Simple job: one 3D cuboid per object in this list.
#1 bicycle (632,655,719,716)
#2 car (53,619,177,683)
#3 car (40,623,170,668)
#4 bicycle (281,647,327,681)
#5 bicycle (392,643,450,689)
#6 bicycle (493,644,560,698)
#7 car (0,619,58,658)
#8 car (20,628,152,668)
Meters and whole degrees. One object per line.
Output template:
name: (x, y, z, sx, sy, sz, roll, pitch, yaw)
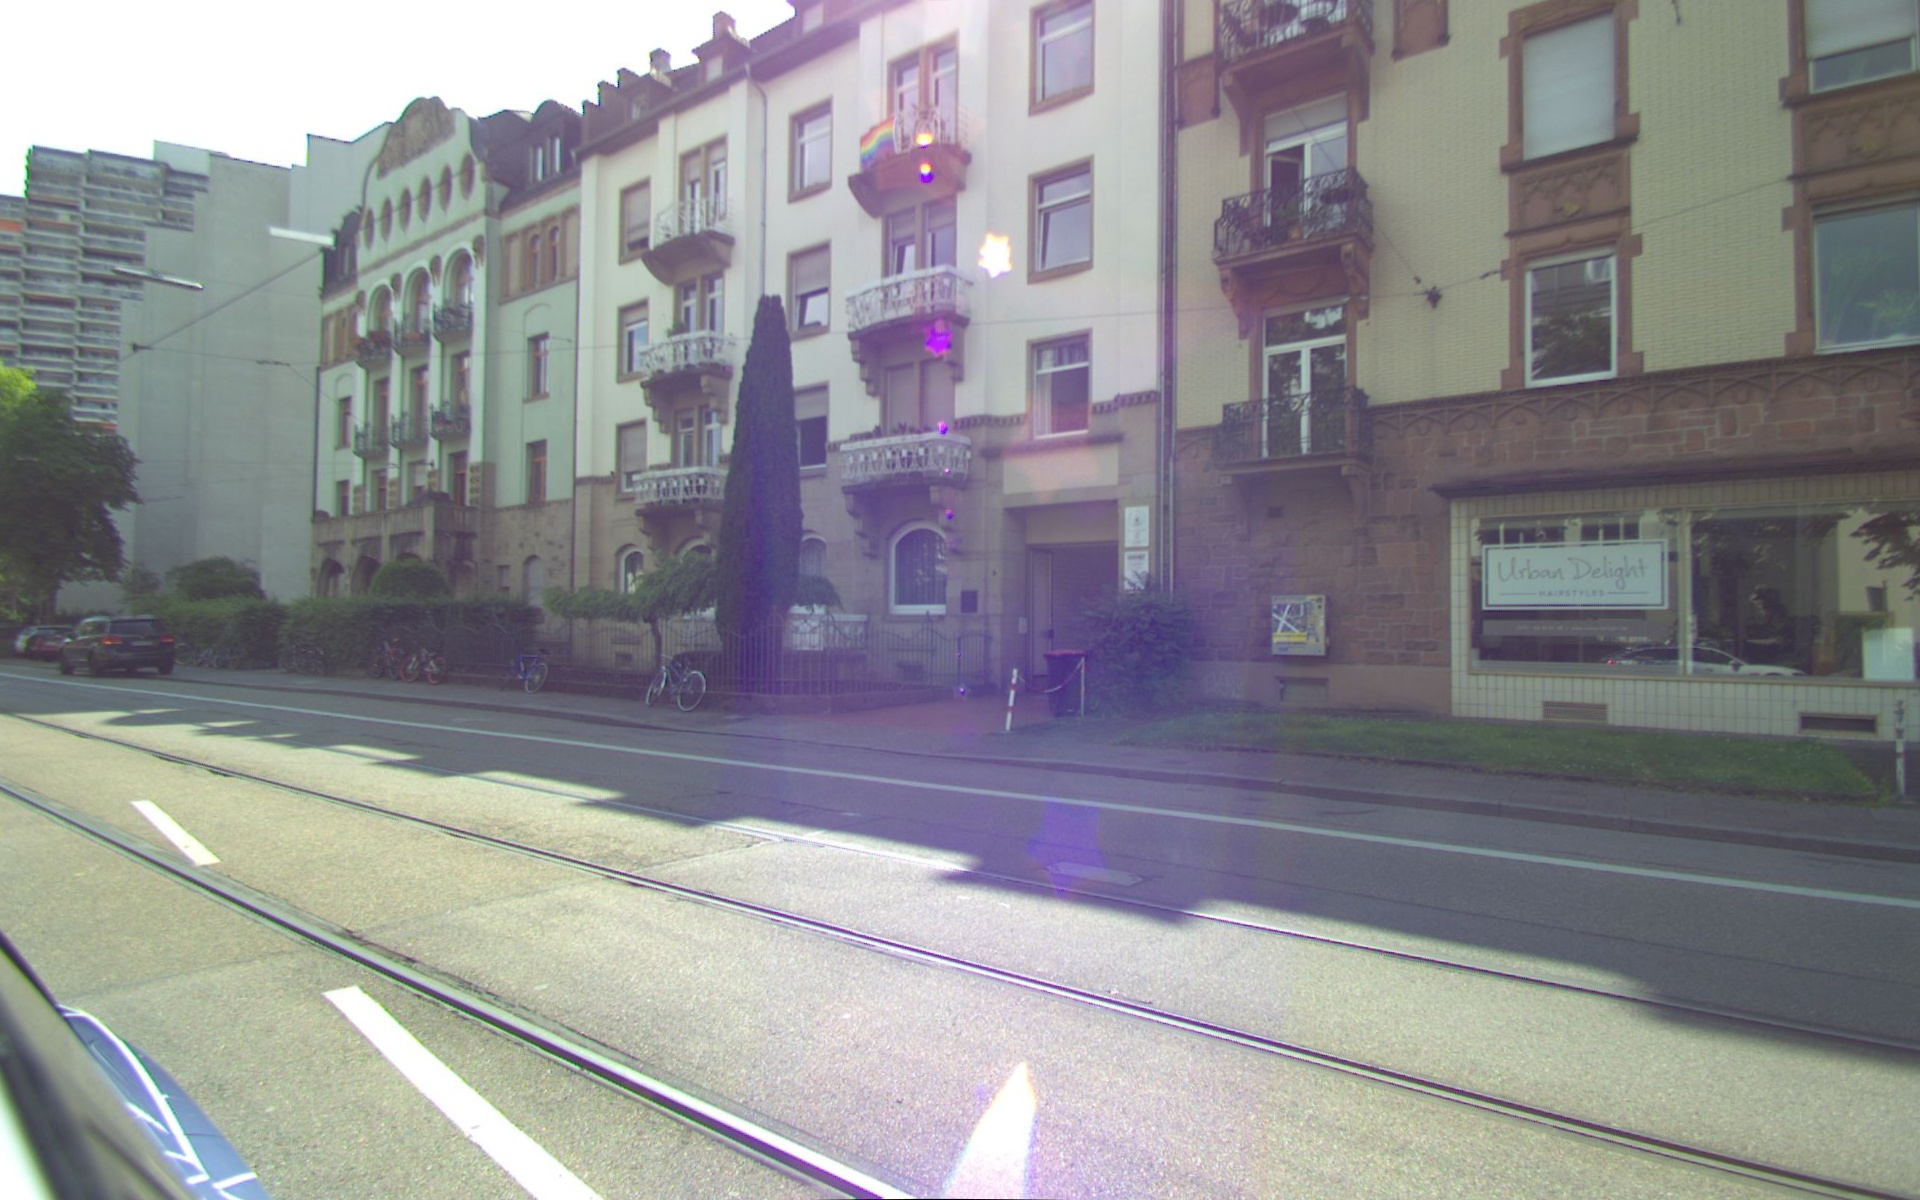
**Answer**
bicycle: (-5.077, 1.491, 17.976, 2.068, 0.913, 0.517, 1, -1, 45)
car: (-24.663, 1.441, 29.499, 4.324, 1.724, 1.775, -1, -3, 37)
car: (-33.344, 1.745, 39.543, 1.608, 1.652, 3.587, -1, -2, 37)
bicycle: (-17.768, 1.714, 27.401, 1.872, 0.803, 0.579, 0, 1, 42)
bicycle: (-12.728, 1.532, 23.888, 1.872, 0.993, 0.579, 0, -2, 42)
bicycle: (-9.108, 1.472, 21.227, 1.872, 1.037, 0.532, 0, -2, 42)
car: (-48.503, 1.927, 51.256, 1.829, 1.940, 3.947, -1, -3, 39)
car: (-35.640, 1.958, 41.350, 1.633, 1.547, 3.841, -1, -3, 39)
